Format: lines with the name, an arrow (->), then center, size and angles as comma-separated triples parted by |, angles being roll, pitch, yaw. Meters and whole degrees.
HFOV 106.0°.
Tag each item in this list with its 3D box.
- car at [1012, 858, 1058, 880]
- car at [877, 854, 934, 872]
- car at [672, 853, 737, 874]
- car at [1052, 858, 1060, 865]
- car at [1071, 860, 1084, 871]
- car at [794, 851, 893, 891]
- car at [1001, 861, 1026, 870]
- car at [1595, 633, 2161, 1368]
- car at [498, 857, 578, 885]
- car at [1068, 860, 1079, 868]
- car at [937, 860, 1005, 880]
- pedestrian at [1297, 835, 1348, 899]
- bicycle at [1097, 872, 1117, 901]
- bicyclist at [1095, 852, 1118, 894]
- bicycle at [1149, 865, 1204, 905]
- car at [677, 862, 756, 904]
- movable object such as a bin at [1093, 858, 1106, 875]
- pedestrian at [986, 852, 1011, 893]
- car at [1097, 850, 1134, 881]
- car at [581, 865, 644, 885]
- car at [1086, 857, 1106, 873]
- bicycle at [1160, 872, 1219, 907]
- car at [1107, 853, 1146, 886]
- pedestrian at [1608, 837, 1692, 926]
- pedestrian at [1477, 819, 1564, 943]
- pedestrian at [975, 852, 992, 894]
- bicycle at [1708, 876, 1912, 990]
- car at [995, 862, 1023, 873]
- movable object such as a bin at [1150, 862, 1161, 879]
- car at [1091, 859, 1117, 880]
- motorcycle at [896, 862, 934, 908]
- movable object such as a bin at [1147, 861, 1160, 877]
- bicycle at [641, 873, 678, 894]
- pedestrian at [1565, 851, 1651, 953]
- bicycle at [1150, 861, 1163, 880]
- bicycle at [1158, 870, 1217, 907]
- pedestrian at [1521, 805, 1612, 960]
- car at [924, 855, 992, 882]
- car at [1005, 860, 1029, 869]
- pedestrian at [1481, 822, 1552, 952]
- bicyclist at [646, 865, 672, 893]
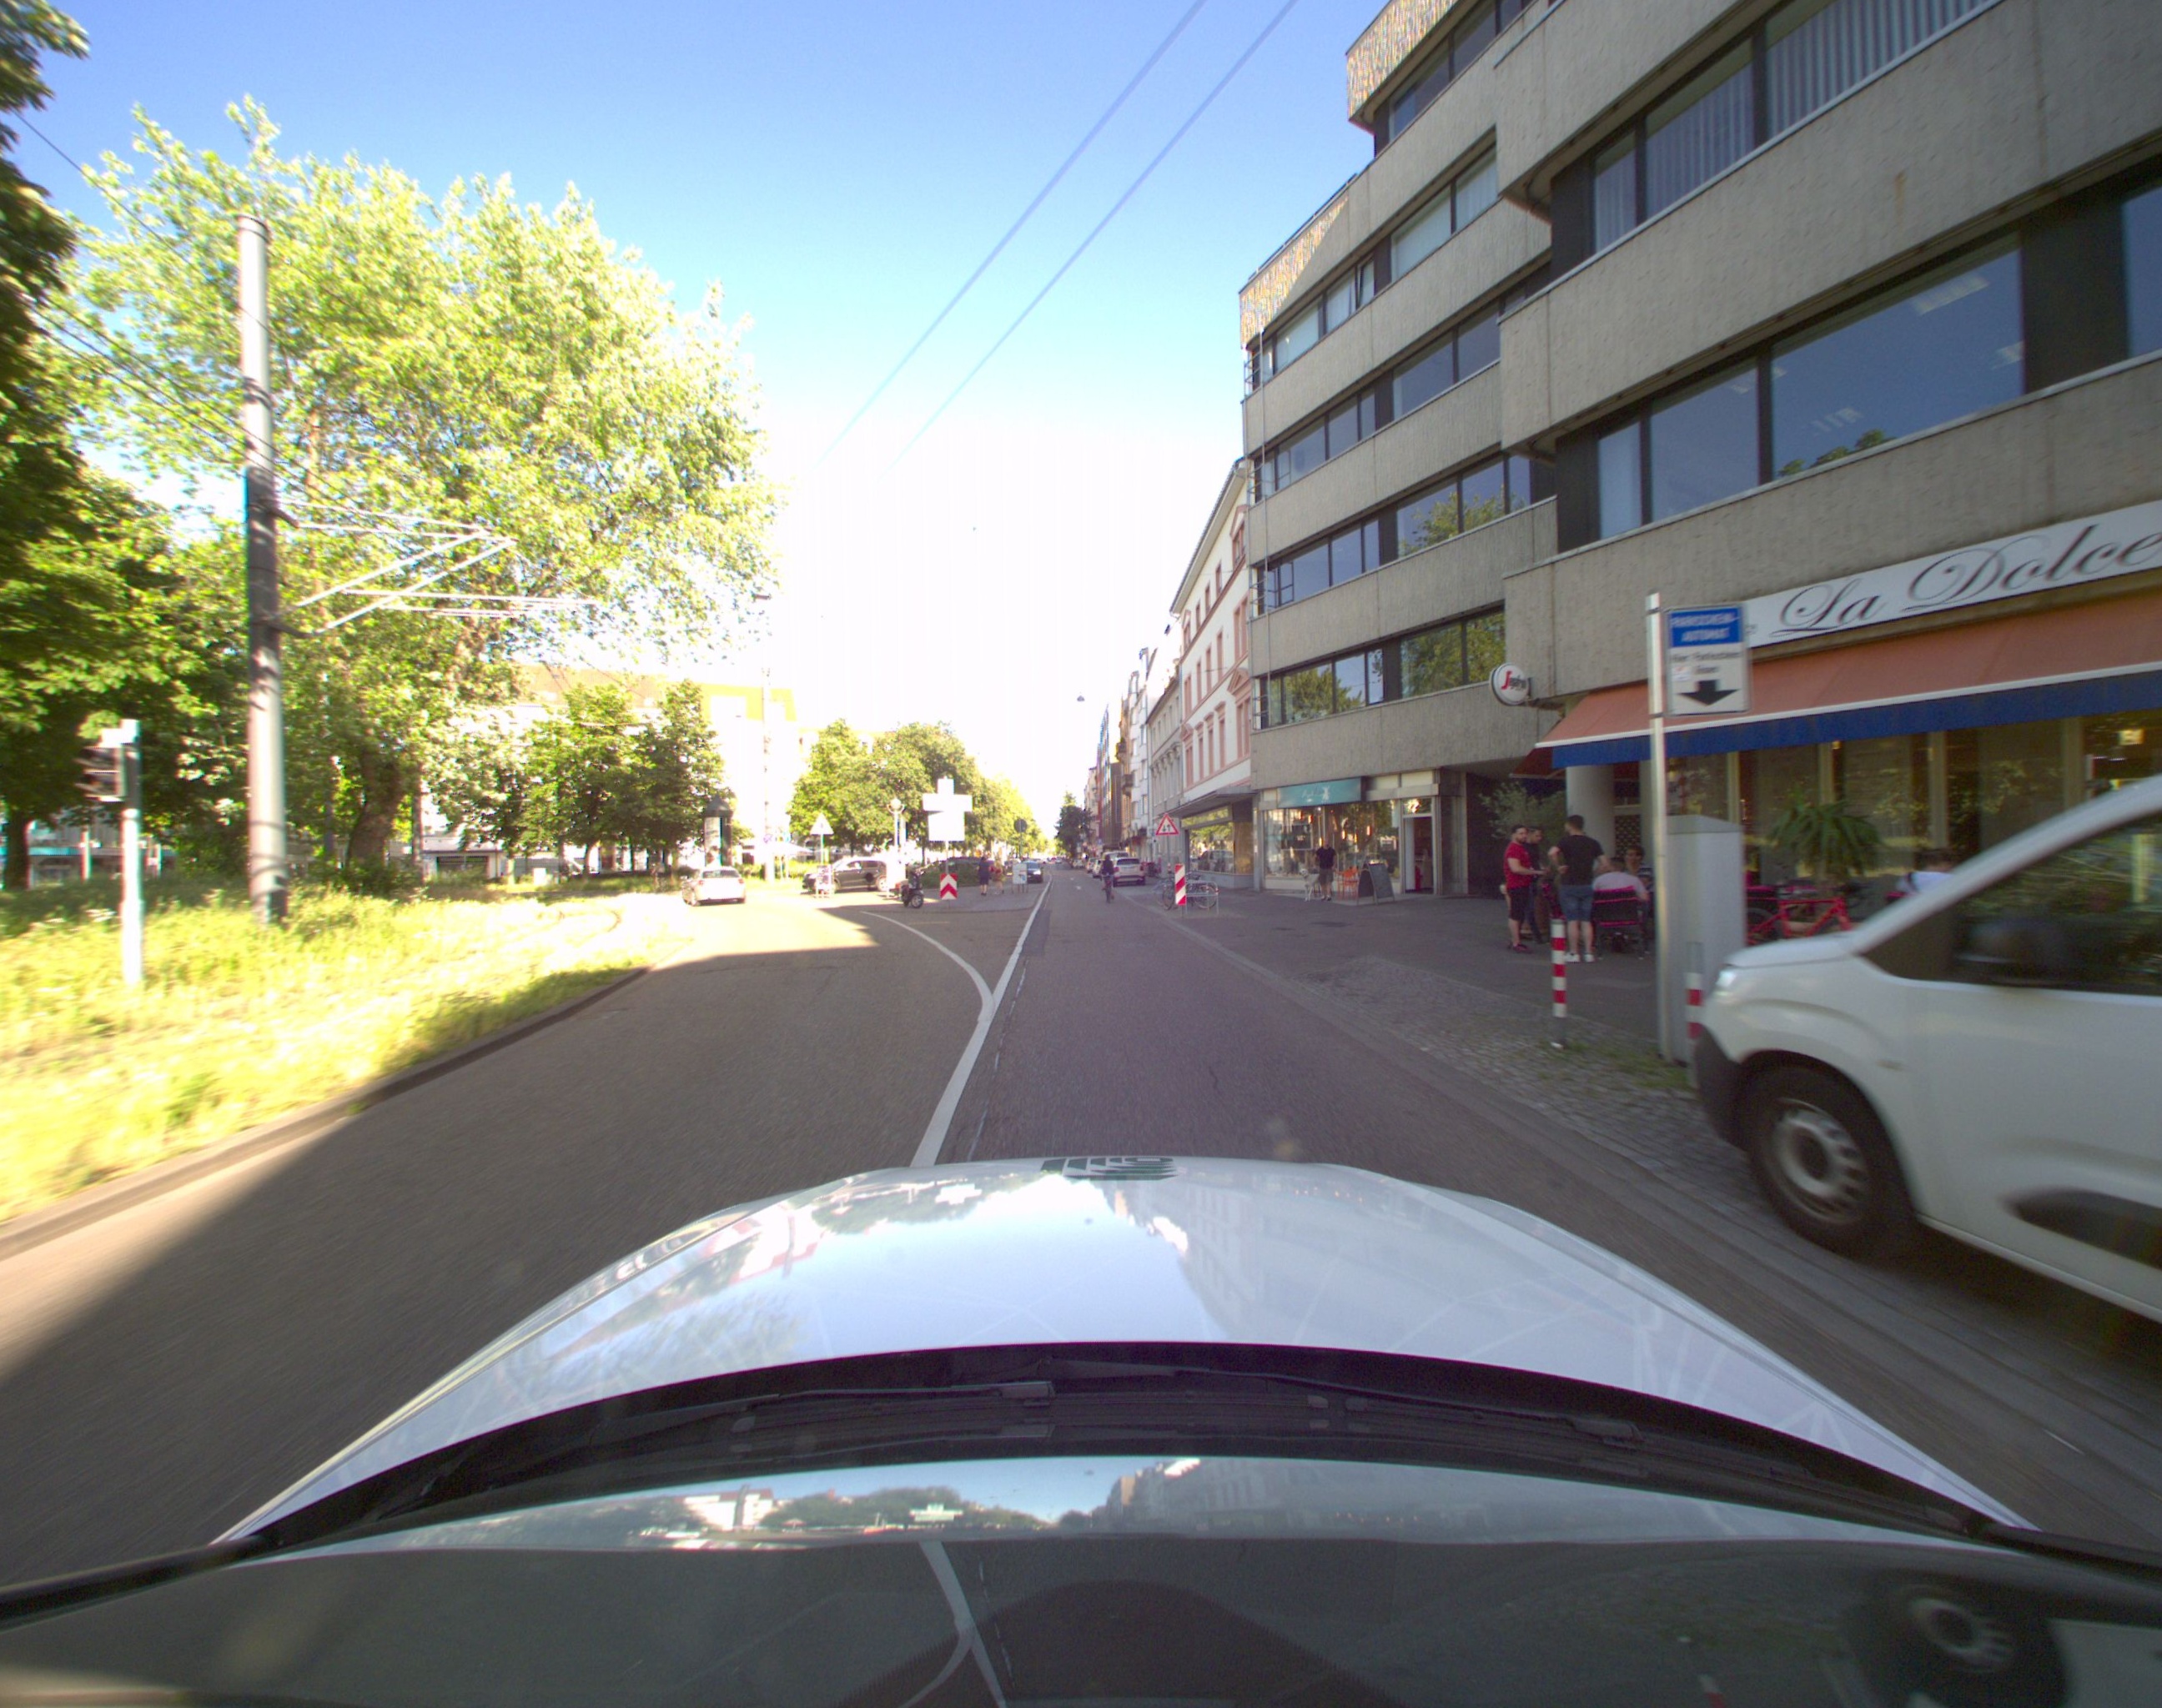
car -> -2.976, 1.011, 53.593 | 1.899, 1.417, 4.824 | 0, -2, 11
car -> -17.954, 0.942, 83.421 | 5.294, 1.800, 2.143 | 1, -2, -29
car -> -36.713, 0.941, 79.506 | 5.608, 2.014, 1.801 | 1, -2, -29
car -> -6.352, 1.892, 205.981 | 1.865, 1.556, 3.997 | 0, -2, -1
car -> -0.492, 1.822, 127.236 | 1.987, 1.618, 4.010 | 1, -2, 1
car -> -10.607, 0.753, 36.451 | 3.889, 1.682, 1.791 | 0, -2, -38
car -> -11.229, 1.875, 135.369 | 3.975, 1.508, 1.893 | 0, -1, -1
car -> 3.664, 0.365, 1.999 | 1.988, 1.813, 4.305 | 0, -2, -2
car -> -46.032, 1.497, 69.208 | 5.362, 2.314, 1.983 | 1, -2, -25
car -> -1.544, 1.969, 159.536 | 1.988, 1.453, 3.996 | 0, -1, -2
car -> -8.420, 1.252, 62.483 | 4.859, 1.488, 1.750 | 1, -2, -26
pedestrian -> 6.758, 0.372, 22.824 | 1.128, 1.743, 1.022 | 0, -2, 0
bicycle -> 0.911, 1.136, 28.902 | 0.650, 0.958, 2.698 | 0, -2, 1
bicyclist -> 0.904, 0.685, 28.953 | 0.783, 1.453, 1.096 | 0, -2, 1
bicycle -> 3.012, 0.971, 25.624 | 1.608, 1.243, 0.662 | 0, -2, 18
car -> -13.717, 1.062, 30.537 | 2.008, 1.423, 4.152 | 1, -2, -34
movable object such as a bin -> 1.743, 1.154, 75.554 | 1.069, 1.457, 1.494 | -4, 0, 3
pedestrian -> -3.409, 0.760, 33.601 | 0.795, 1.699, 0.674 | -1, -2, 28
car -> 2.288, 0.743, 55.500 | 1.989, 2.005, 5.111 | -1, 0, -3
car -> -43.672, 1.987, 76.105 | 4.878, 1.804, 1.894 | 1, -2, -24
car -> 1.558, 1.180, 86.046 | 1.894, 1.675, 4.820 | 0, -2, -2
bicycle -> 3.216, 1.051, 24.214 | 1.691, 1.004, 0.429 | -1, -2, 14
car -> 2.488, 0.904, 45.455 | 1.741, 1.739, 4.956 | 0, -2, -2
pedestrian -> 9.277, 0.428, 13.282 | 0.846, 1.402, 0.824 | 0, 0, -27
pedestrian -> 6.423, 0.377, 11.907 | 0.846, 1.710, 0.713 | -3, 0, -30
pedestrian -> -3.920, 0.749, 32.784 | 0.634, 1.672, 0.692 | 0, -2, -1
bicycle -> 7.280, 0.746, 8.248 | 0.561, 1.034, 1.643 | 0, -2, -1
car -> -10.549, 1.965, 119.438 | 3.975, 1.508, 1.999 | 0, -1, -1
movable object such as a bin -> 5.157, 1.156, 56.488 | 0.766, 1.161, 0.578 | 0, -2, 1
car -> 1.798, 1.248, 64.816 | 1.714, 1.515, 3.579 | -3, -1, -2
motorcycle -> -5.143, 0.946, 25.151 | 0.749, 1.374, 1.746 | 1, -2, -25
movable object such as a bin -> 5.110, 1.069, 57.765 | 0.792, 1.076, 0.660 | -4, -2, 0
bicycle -> -22.679, 1.567, 43.783 | 2.550, 1.069, 0.817 | -1, -2, 40
pedestrian -> 6.713, 0.604, 10.406 | 0.627, 1.236, 0.625 | -3, -2, 1
bicycle -> 5.048, 1.116, 54.433 | 0.479, 1.186, 1.727 | -4, -3, 16
bicycle -> 3.111, 1.004, 23.844 | 1.667, 1.062, 0.345 | 0, -2, 14
pedestrian -> 6.078, 0.349, 10.225 | 0.668, 1.856, 0.610 | -3, -2, 1
car -> -7.727, 0.900, 51.117 | 3.998, 1.668, 1.988 | 1, -1, -18
car -> -11.051, 1.895, 139.999 | 3.977, 1.508, 1.998 | 0, -1, -2
pedestrian -> 5.895, 0.440, 11.053 | 0.581, 1.714, 0.698 | 0, -2, 1
bicyclist -> -22.723, 1.328, 43.856 | 0.815, 1.507, 0.937 | -1, -2, 40
